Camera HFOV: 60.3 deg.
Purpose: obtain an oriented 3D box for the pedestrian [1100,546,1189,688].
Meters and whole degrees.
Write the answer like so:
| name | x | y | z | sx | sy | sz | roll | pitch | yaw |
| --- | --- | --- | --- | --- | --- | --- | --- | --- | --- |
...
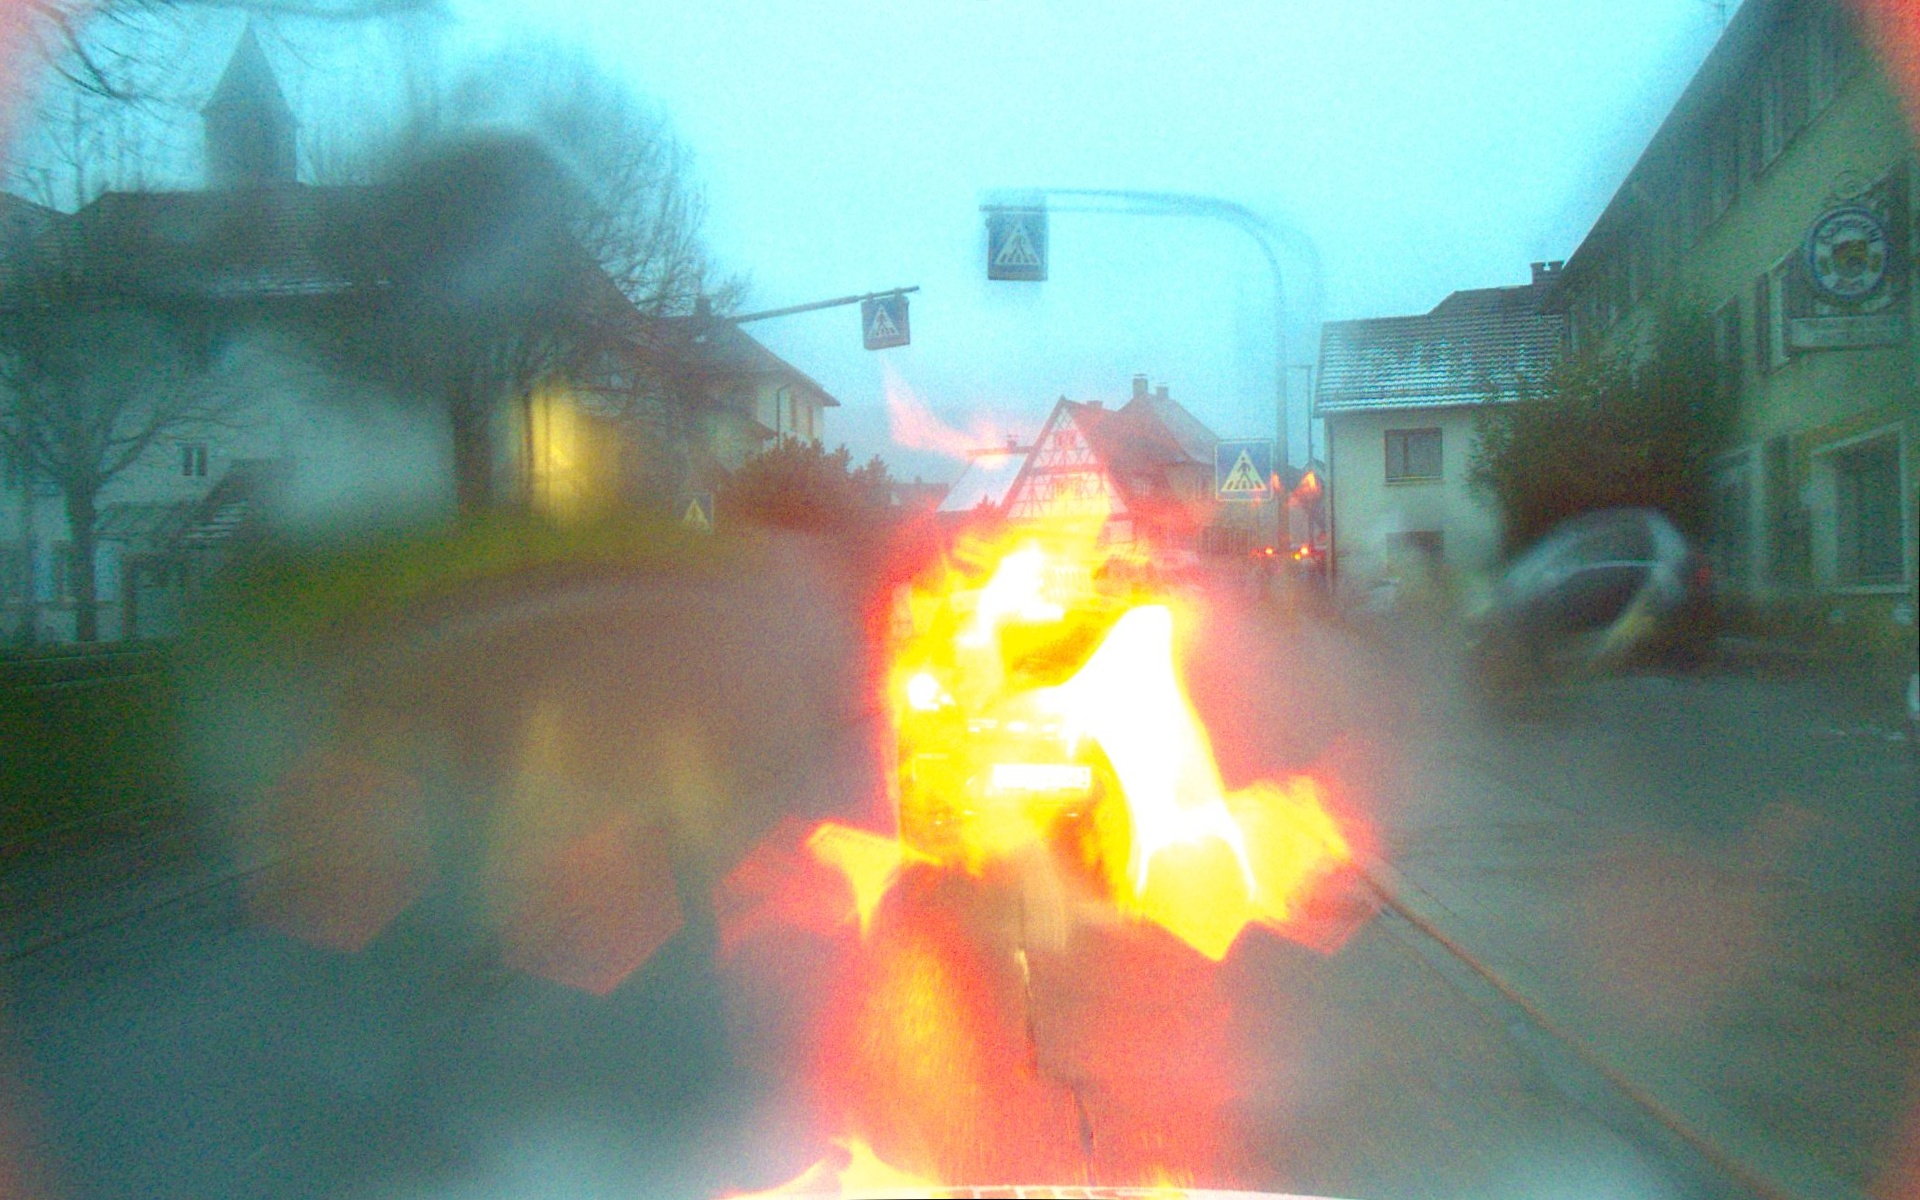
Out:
| name | x | y | z | sx | sy | sz | roll | pitch | yaw |
| --- | --- | --- | --- | --- | --- | --- | --- | --- | --- |
| pedestrian | 2.415 | 0.215 | 21.579 | 0.861 | 1.765 | 0.956 | -4 | 0 | 18 |

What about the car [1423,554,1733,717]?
| name | x | y | z | sx | sy | sz | roll | pitch | yaw |
| --- | --- | --- | --- | --- | --- | --- | --- | --- | --- |
| car | 6.225 | 0.352 | 16.892 | 2.704 | 1.499 | 1.428 | -2 | 0 | 10 |

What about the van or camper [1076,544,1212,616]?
| name | x | y | z | sx | sy | sz | roll | pitch | yaw |
| --- | --- | --- | --- | --- | --- | --- | --- | --- | --- |
| van or camper | 8.850 | -0.953 | 79.699 | 5.941 | 3.006 | 2.404 | -4 | -1 | 26 |

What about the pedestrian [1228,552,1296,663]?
| name | x | y | z | sx | sy | sz | roll | pitch | yaw |
| --- | --- | --- | --- | --- | --- | --- | --- | --- | --- |
| pedestrian | 4.858 | 0.108 | 26.540 | 0.849 | 1.695 | 0.992 | -4 | 0 | 18 |

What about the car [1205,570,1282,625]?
| name | x | y | z | sx | sy | sz | roll | pitch | yaw |
| --- | --- | --- | --- | --- | --- | --- | --- | --- | --- |
| car | 8.980 | -0.096 | 52.064 | 1.809 | 1.665 | 4.338 | 0 | 1 | 18 |

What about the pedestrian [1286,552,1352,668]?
| name | x | y | z | sx | sy | sz | roll | pitch | yaw |
| --- | --- | --- | --- | --- | --- | --- | --- | --- | --- |
| pedestrian | 5.713 | 0.146 | 26.288 | 0.830 | 1.763 | 0.972 | -4 | 0 | 18 |

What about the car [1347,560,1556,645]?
| name | x | y | z | sx | sy | sz | roll | pitch | yaw |
| --- | --- | --- | --- | --- | --- | --- | --- | --- | --- |
| car | 9.662 | 0.047 | 32.779 | 3.816 | 1.499 | 1.752 | -2 | 0 | 13 |

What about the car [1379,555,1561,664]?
| name | x | y | z | sx | sy | sz | roll | pitch | yaw |
| --- | --- | --- | --- | --- | --- | --- | --- | --- | --- |
| car | 8.002 | 0.137 | 26.119 | 2.527 | 1.574 | 1.553 | -2 | 1 | 10 |

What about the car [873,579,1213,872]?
| name | x | y | z | sx | sy | sz | roll | pitch | yaw |
| --- | --- | --- | --- | --- | --- | --- | --- | --- | --- |
| car | 0.357 | 0.622 | 10.545 | 1.759 | 1.502 | 3.998 | 0 | 1 | -2 |

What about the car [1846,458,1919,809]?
| name | x | y | z | sx | sy | sz | roll | pitch | yaw |
| --- | --- | --- | --- | --- | --- | --- | --- | --- | --- |
| car | 7.623 | 0.072 | 8.611 | 4.874 | 1.922 | 1.939 | -3 | 1 | 10 |

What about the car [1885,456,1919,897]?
| name | x | y | z | sx | sy | sz | roll | pitch | yaw |
| --- | --- | --- | --- | --- | --- | --- | --- | --- | --- |
| car | 5.955 | 0.240 | 6.098 | 3.957 | 1.875 | 1.865 | -3 | 0 | 5 |
